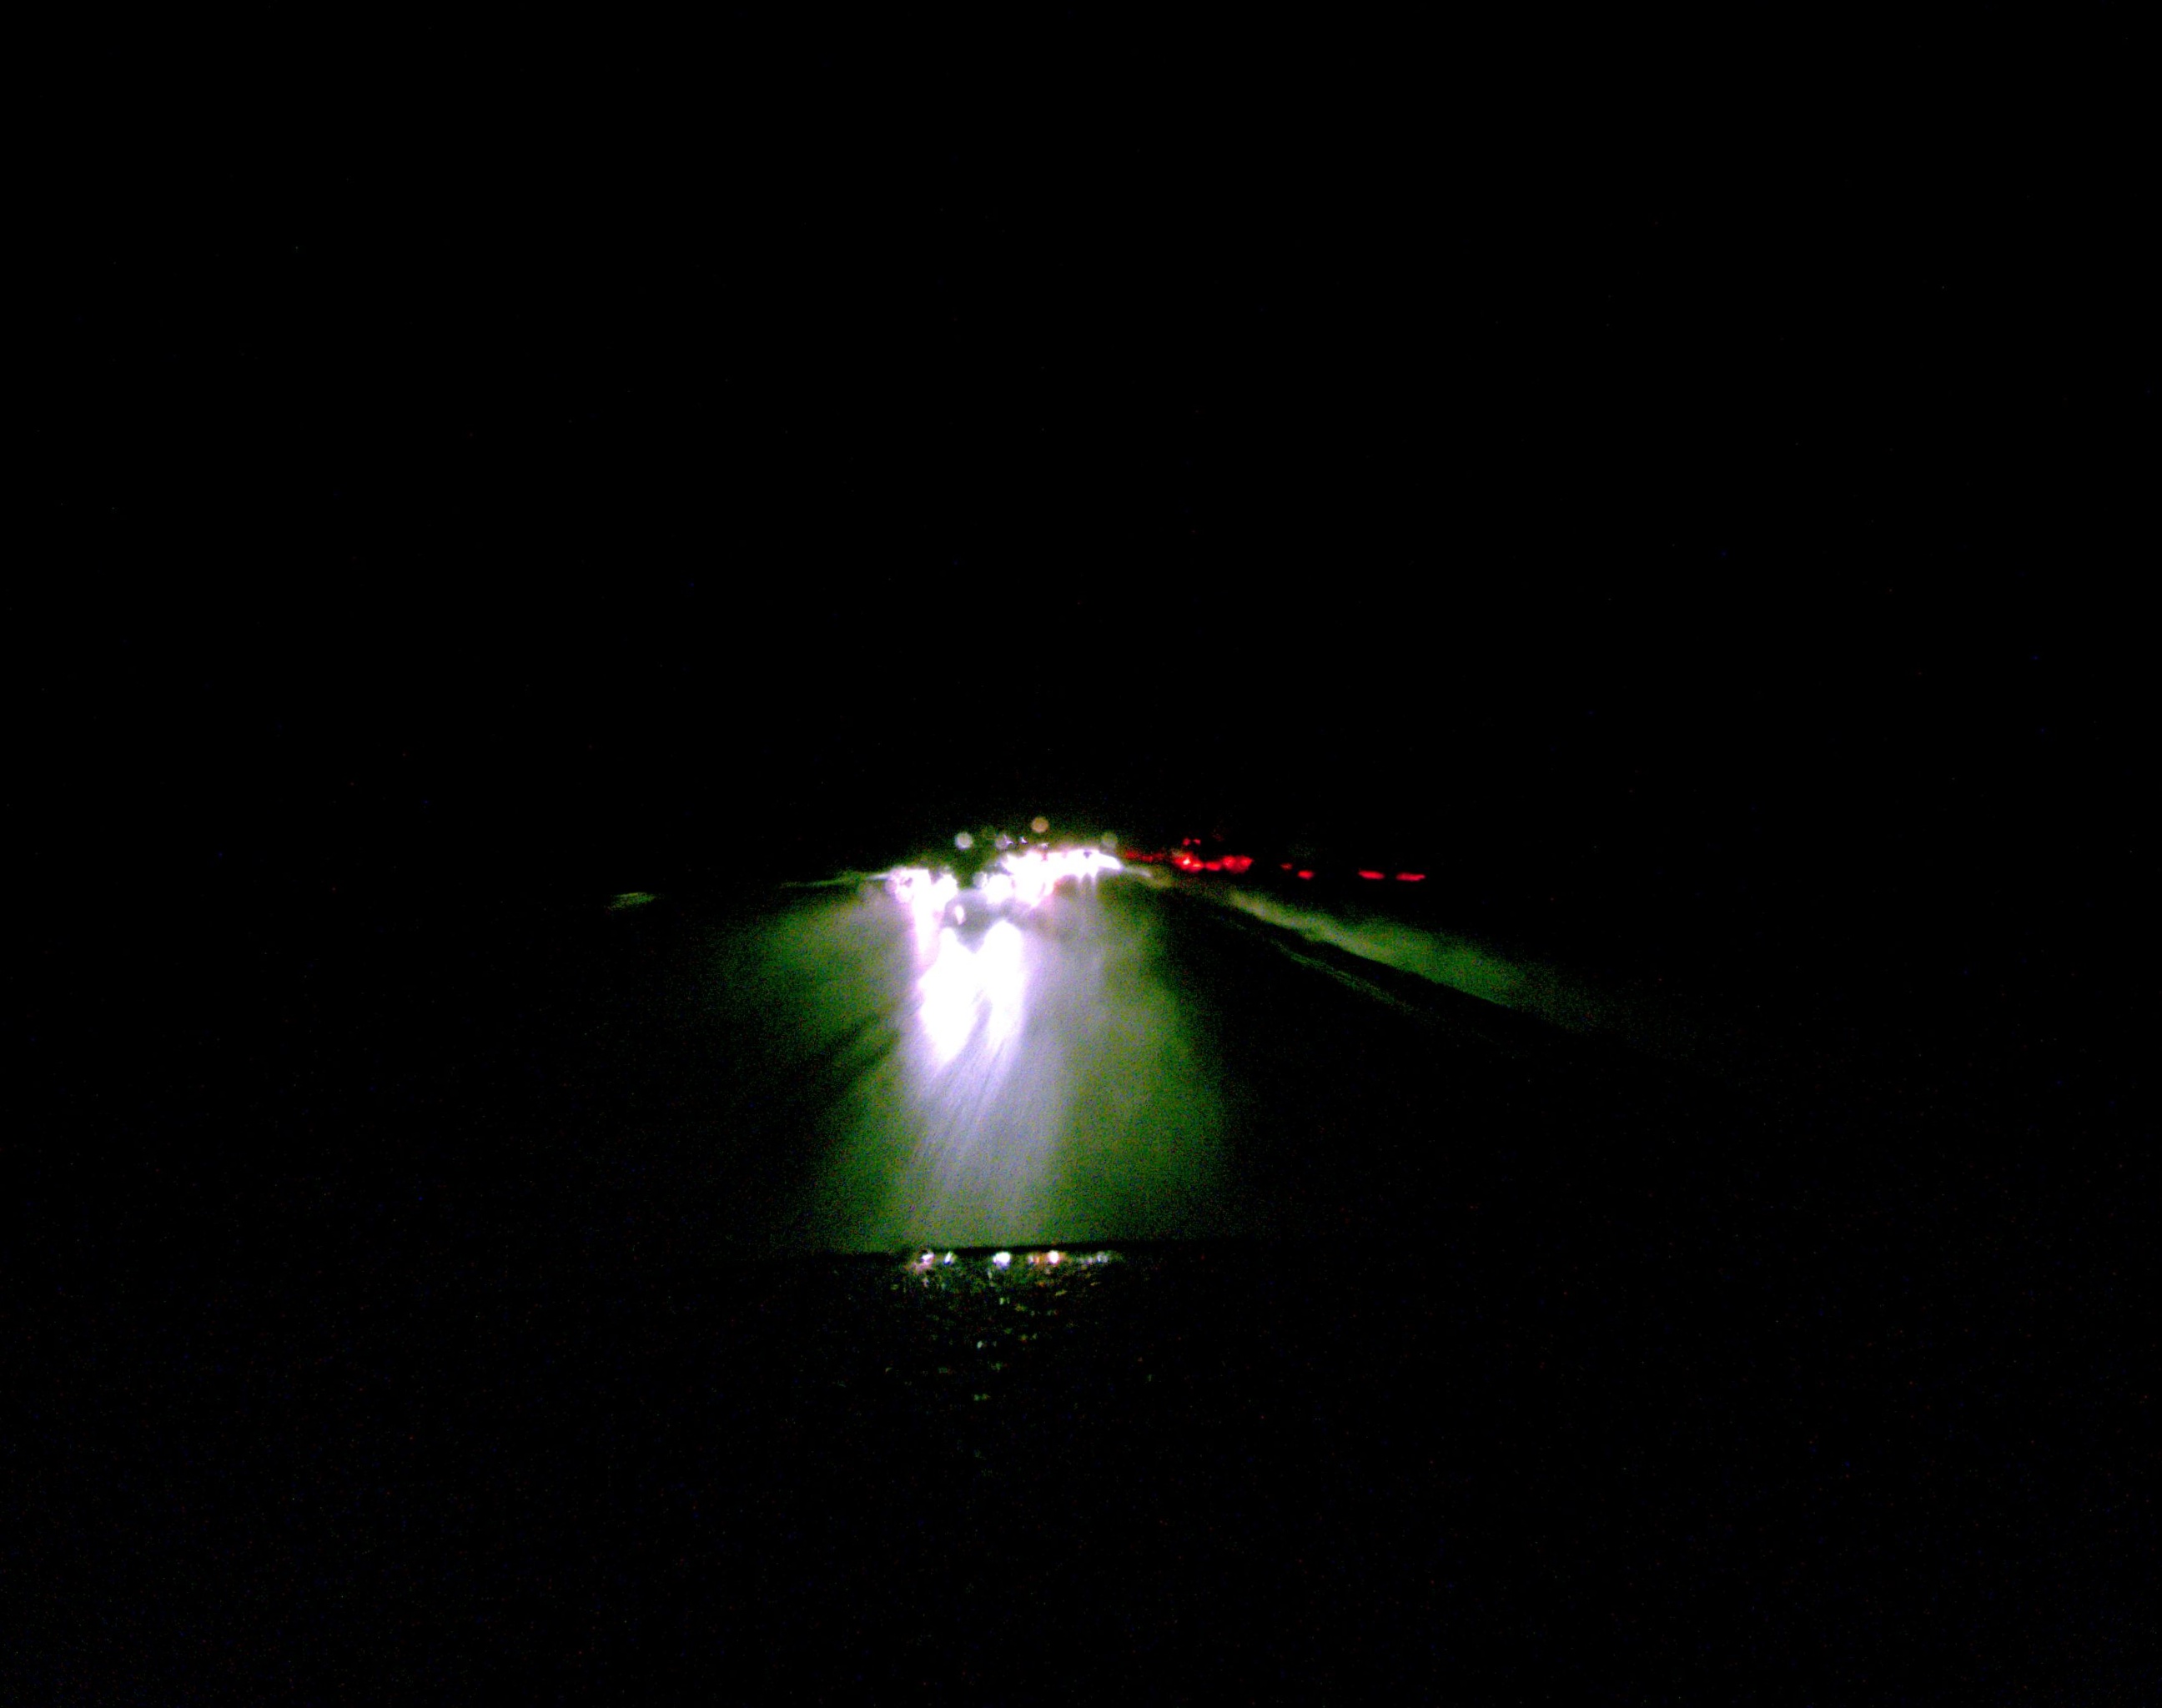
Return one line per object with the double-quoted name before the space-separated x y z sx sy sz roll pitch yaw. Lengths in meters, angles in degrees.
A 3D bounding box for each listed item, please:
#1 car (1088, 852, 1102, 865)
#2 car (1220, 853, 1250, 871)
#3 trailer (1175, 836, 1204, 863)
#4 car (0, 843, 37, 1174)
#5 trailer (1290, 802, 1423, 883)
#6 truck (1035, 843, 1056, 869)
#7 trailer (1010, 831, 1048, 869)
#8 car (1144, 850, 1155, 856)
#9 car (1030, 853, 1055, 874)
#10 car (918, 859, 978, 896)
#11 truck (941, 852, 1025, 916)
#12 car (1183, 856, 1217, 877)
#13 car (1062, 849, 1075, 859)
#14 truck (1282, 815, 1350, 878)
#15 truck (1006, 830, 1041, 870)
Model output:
"car" 1.826 0.514 94.989 1.619 1.452 3.767 -2 1 2
"car" 13.410 0.680 66.517 1.682 1.588 4.348 0 0 -1
"trailer" 18.384 -0.802 129.843 3.056 4.268 14.408 1 0 0
"car" -7.442 0.924 1.938 2.051 1.962 5.406 -1 0 0
"trailer" 17.152 -0.545 49.136 2.894 4.278 15.719 -2 -1 1
"truck" -6.037 0.284 129.912 2.778 4.169 6.016 -3 1 2
"trailer" -6.052 -0.580 90.655 2.871 4.074 13.641 -2 1 2
"car" 14.521 -0.205 162.224 1.998 1.412 4.000 0 0 0
"car" -3.013 0.713 60.101 1.619 1.494 3.767 -2 1 2
"car" -6.151 1.040 35.800 1.747 1.470 5.366 -2 0 1
"truck" -2.947 0.851 23.894 1.848 1.686 4.854 -2 1 1
"car" 8.443 0.835 54.064 1.682 1.438 4.286 0 0 -1
"car" -2.070 -0.079 125.492 1.944 1.521 4.000 -2 1 2
"truck" 17.248 -0.465 56.270 2.894 4.309 6.746 -2 0 1
"truck" -6.230 -0.499 83.703 2.866 4.079 7.014 -3 1 2
